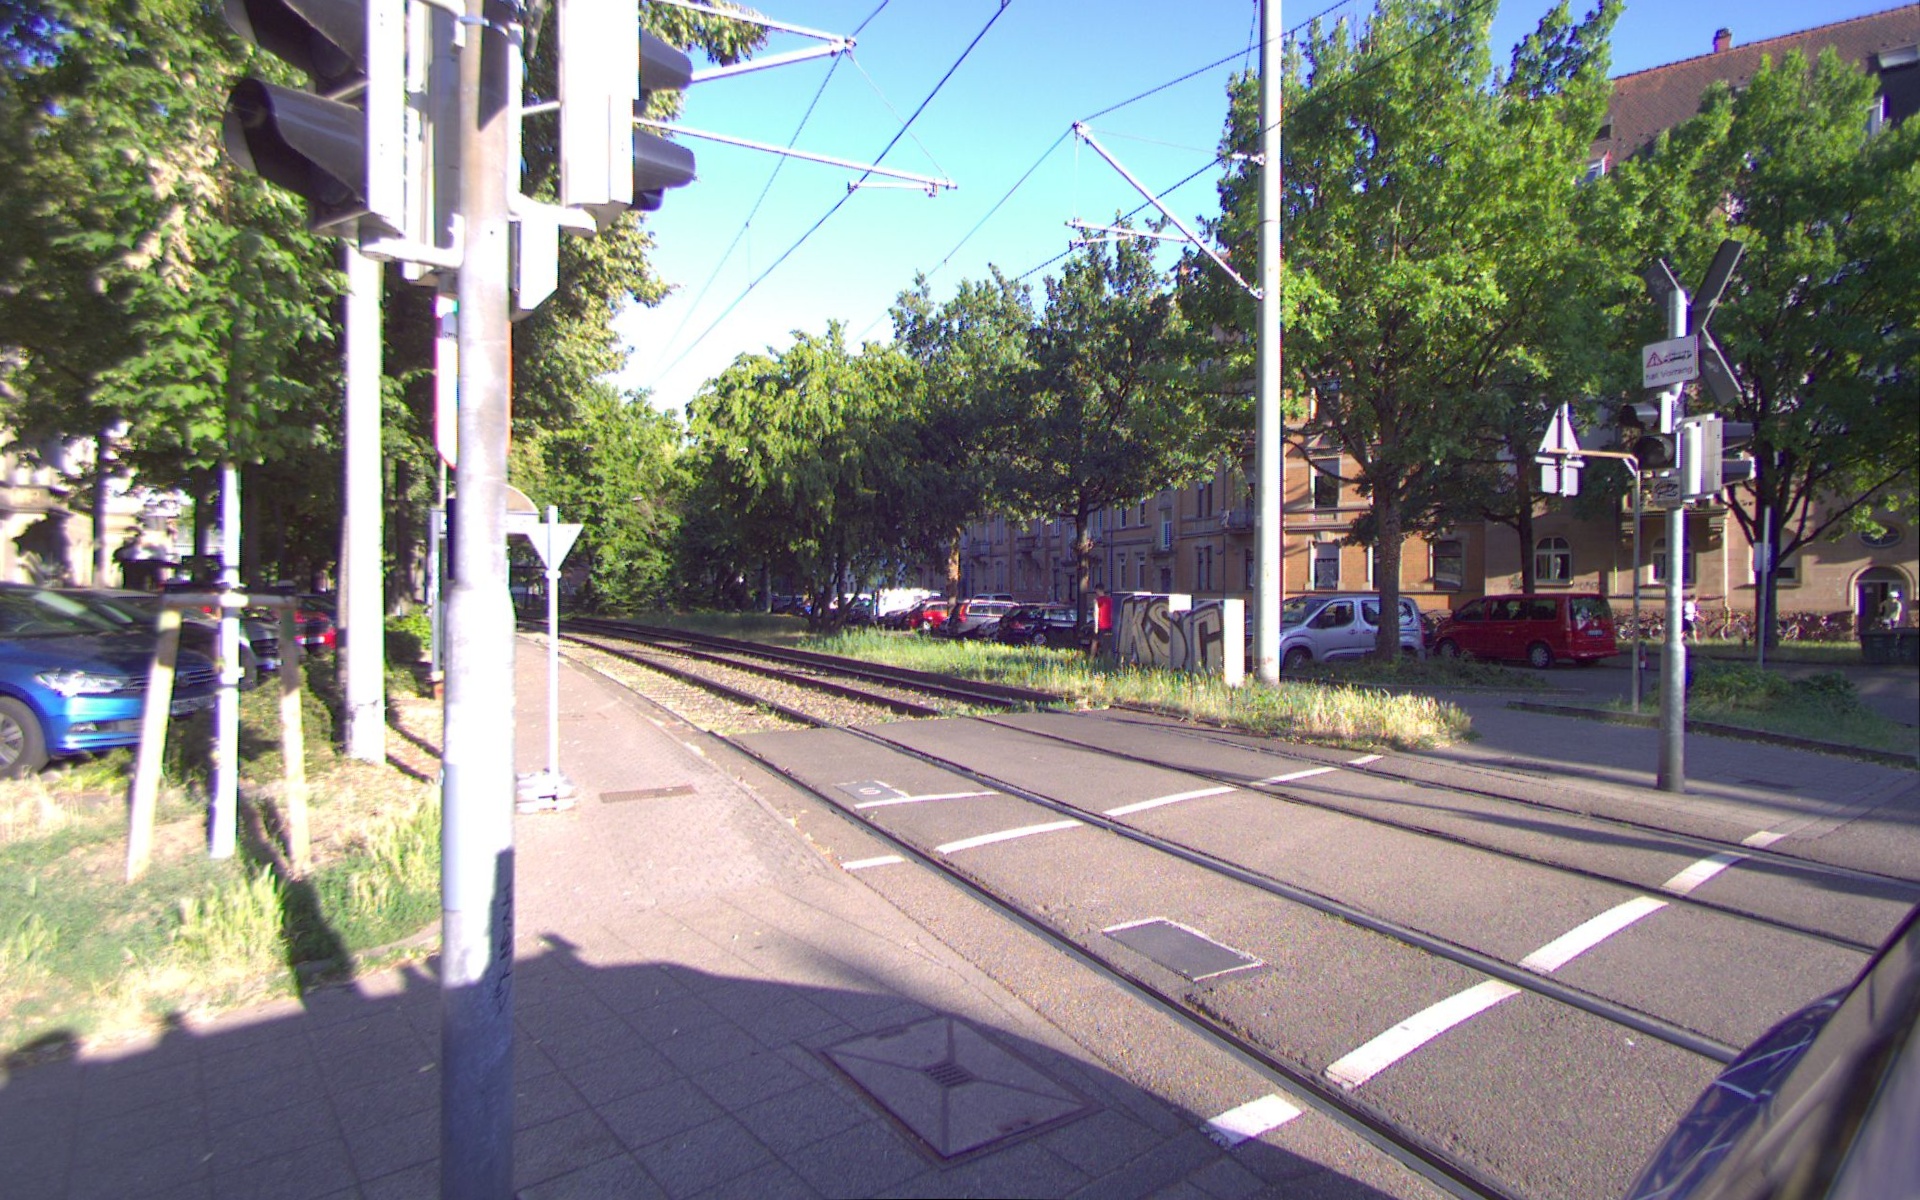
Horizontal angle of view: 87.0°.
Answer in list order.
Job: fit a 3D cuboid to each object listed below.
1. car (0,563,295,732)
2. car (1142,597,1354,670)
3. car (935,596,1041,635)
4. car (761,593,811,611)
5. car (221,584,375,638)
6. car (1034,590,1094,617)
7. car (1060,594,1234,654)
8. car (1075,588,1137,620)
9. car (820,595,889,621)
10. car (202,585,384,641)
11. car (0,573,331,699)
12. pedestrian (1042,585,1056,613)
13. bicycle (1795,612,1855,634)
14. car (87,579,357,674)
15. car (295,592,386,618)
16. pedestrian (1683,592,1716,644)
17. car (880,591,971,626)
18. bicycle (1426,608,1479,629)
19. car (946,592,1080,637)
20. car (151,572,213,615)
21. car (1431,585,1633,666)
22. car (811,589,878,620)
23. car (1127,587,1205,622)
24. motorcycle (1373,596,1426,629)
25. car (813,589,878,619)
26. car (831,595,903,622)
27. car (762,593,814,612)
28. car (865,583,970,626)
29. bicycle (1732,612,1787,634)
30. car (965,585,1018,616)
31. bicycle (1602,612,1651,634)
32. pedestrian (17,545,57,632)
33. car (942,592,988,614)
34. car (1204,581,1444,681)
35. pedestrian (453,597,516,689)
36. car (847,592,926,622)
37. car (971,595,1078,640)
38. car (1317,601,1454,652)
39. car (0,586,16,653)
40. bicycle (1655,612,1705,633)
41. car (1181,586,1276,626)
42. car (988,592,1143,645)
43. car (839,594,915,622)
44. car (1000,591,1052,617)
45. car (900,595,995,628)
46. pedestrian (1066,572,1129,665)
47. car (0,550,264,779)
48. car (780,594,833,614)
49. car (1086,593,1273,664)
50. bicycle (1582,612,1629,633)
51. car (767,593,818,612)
[{"bbox_3d":[-10.163,0.446,11.152,4.469,1.655,1.928,1,0,3],"label":"car"},{"bbox_3d":[6.788,0.746,23.986,4.457,1.592,1.954,0,1,-16],"label":"car"},{"bbox_3d":[1.120,0.628,40.683,3.915,1.479,1.688,1,0,-18],"label":"car"},{"bbox_3d":[-15.467,0.197,90.124,4.176,1.507,1.688,1,0,-18],"label":"car"},{"bbox_3d":[-22.566,0.356,34.563,4.207,1.717,1.806,1,0,6],"label":"car"},{"bbox_3d":[5.760,0.162,56.672,1.732,1.401,4.299,-2,1,-18],"label":"car"},{"bbox_3d":[5.312,0.657,28.915,4.457,1.592,1.954,0,1,-16],"label":"car"},{"bbox_3d":[7.412,0.188,51.674,1.654,1.494,3.716,-2,1,-18],"label":"car"},{"bbox_3d":[-6.427,0.470,61.703,3.915,1.507,1.688,1,0,-18],"label":"car"},{"bbox_3d":[-19.242,0.358,29.282,4.207,1.506,1.806,1,0,6],"label":"car"},{"bbox_3d":[-11.249,0.430,13.588,4.469,1.506,1.928,1,0,3],"label":"car"},{"bbox_3d":[5.745,-0.069,65.484,0.661,1.739,0.723,-2,1,-18],"label":"pedestrian"},{"bbox_3d":[29.428,0.782,34.440,1.500,0.741,0.364,-2,-1,36],"label":"bicycle"},{"bbox_3d":[-14.899,0.495,20.515,4.482,1.743,1.922,1,0,12],"label":"car"},{"bbox_3d":[-33.631,0.261,55.009,3.926,1.295,1.747,1,0,2],"label":"car"},{"bbox_3d":[25.119,0.599,34.376,0.907,1.740,0.666,0,0,37],"label":"pedestrian"},{"bbox_3d":[-1.622,0.405,47.538,3.916,1.600,1.769,1,0,-21],"label":"car"},{"bbox_3d":[20.185,0.754,41.490,1.887,0.859,0.519,0,-1,36],"label":"bicycle"},{"bbox_3d":[1.989,0.533,38.118,4.616,1.592,2.005,0,1,-16],"label":"car"},{"bbox_3d":[-41.185,-0.345,53.654,1.960,2.200,4.617,1,0,-30],"label":"car"},{"bbox_3d":[15.382,0.615,27.575,1.745,1.958,4.782,-2,1,-19],"label":"car"},{"bbox_3d":[-7.294,0.294,63.735,3.915,1.856,1.688,1,0,-18],"label":"car"},{"bbox_3d":[9.340,0.195,46.217,1.654,1.494,3.890,-2,1,-20],"label":"car"},{"bbox_3d":[18.467,0.529,42.547,1.887,1.370,0.799,-1,-1,36],"label":"motorcycle"},{"bbox_3d":[-7.516,0.261,66.223,3.915,1.856,1.688,1,0,-18],"label":"car"},{"bbox_3d":[-5.411,0.469,58.870,3.915,1.507,1.688,1,0,-18],"label":"car"},{"bbox_3d":[-14.889,0.215,87.562,4.176,1.507,1.688,1,0,-18],"label":"car"},{"bbox_3d":[-2.125,0.227,50.201,4.757,2.064,2.159,1,0,-18],"label":"car"},{"bbox_3d":[28.082,0.791,35.580,1.501,0.741,0.364,0,0,36],"label":"bicycle"},{"bbox_3d":[2.039,-0.014,66.725,1.873,1.906,4.735,-2,1,-19],"label":"car"},{"bbox_3d":[24.625,0.842,37.403,1.501,0.741,0.364,0,0,36],"label":"bicycle"},{"bbox_3d":[-32.359,-0.401,35.504,0.902,2.985,0.701,0,0,-31],"label":"pedestrian"},{"bbox_3d":[0.318,0.187,72.217,1.843,1.459,4.402,-2,1,-19],"label":"car"},{"bbox_3d":[7.651,0.599,21.397,4.457,1.938,1.954,0,1,-16],"label":"car"},{"bbox_3d":[-6.949,0.603,14.779,0.808,1.289,0.878,0,0,-27],"label":"pedestrian"},{"bbox_3d":[-3.926,0.369,54.202,3.915,1.573,1.688,1,0,-18],"label":"car"},{"bbox_3d":[2.248,0.602,35.486,3.338,1.533,1.722,0,0,-16],"label":"car"},{"bbox_3d":[13.696,0.810,32.883,1.745,1.451,4.279,-2,1,-17],"label":"car"},{"bbox_3d":[-23.313,0.468,22.675,1.959,1.587,4.600,1,0,-27],"label":"car"},{"bbox_3d":[26.138,0.814,36.755,1.501,0.741,0.364,0,0,36],"label":"bicycle"},{"bbox_3d":[10.913,0.198,41.408,1.745,1.494,4.279,-2,1,-17],"label":"car"},{"bbox_3d":[3.445,0.576,33.177,4.616,1.592,2.005,0,1,-16],"label":"car"},{"bbox_3d":[-4.667,0.457,56.587,3.915,1.507,1.688,1,0,-18],"label":"car"},{"bbox_3d":[3.967,0.242,61.417,1.732,1.456,3.896,-2,1,-19],"label":"car"},{"bbox_3d":[-0.555,0.506,45.463,3.915,1.441,1.688,1,0,-18],"label":"car"},{"bbox_3d":[2.941,0.391,21.782,0.886,1.943,1.152,2,-1,-18],"label":"pedestrian"},{"bbox_3d":[-8.599,0.508,8.487,4.335,1.709,1.742,-1,0,0],"label":"car"},{"bbox_3d":[-12.278,0.297,80.995,3.915,1.507,1.688,1,0,-18],"label":"car"},{"bbox_3d":[5.694,0.704,26.389,4.356,1.712,1.954,0,1,-16],"label":"car"},{"bbox_3d":[24.303,0.837,38.117,1.501,0.741,0.364,0,0,36],"label":"bicycle"},{"bbox_3d":[-14.144,0.246,85.607,4.046,1.541,1.688,1,0,-18],"label":"car"}]
